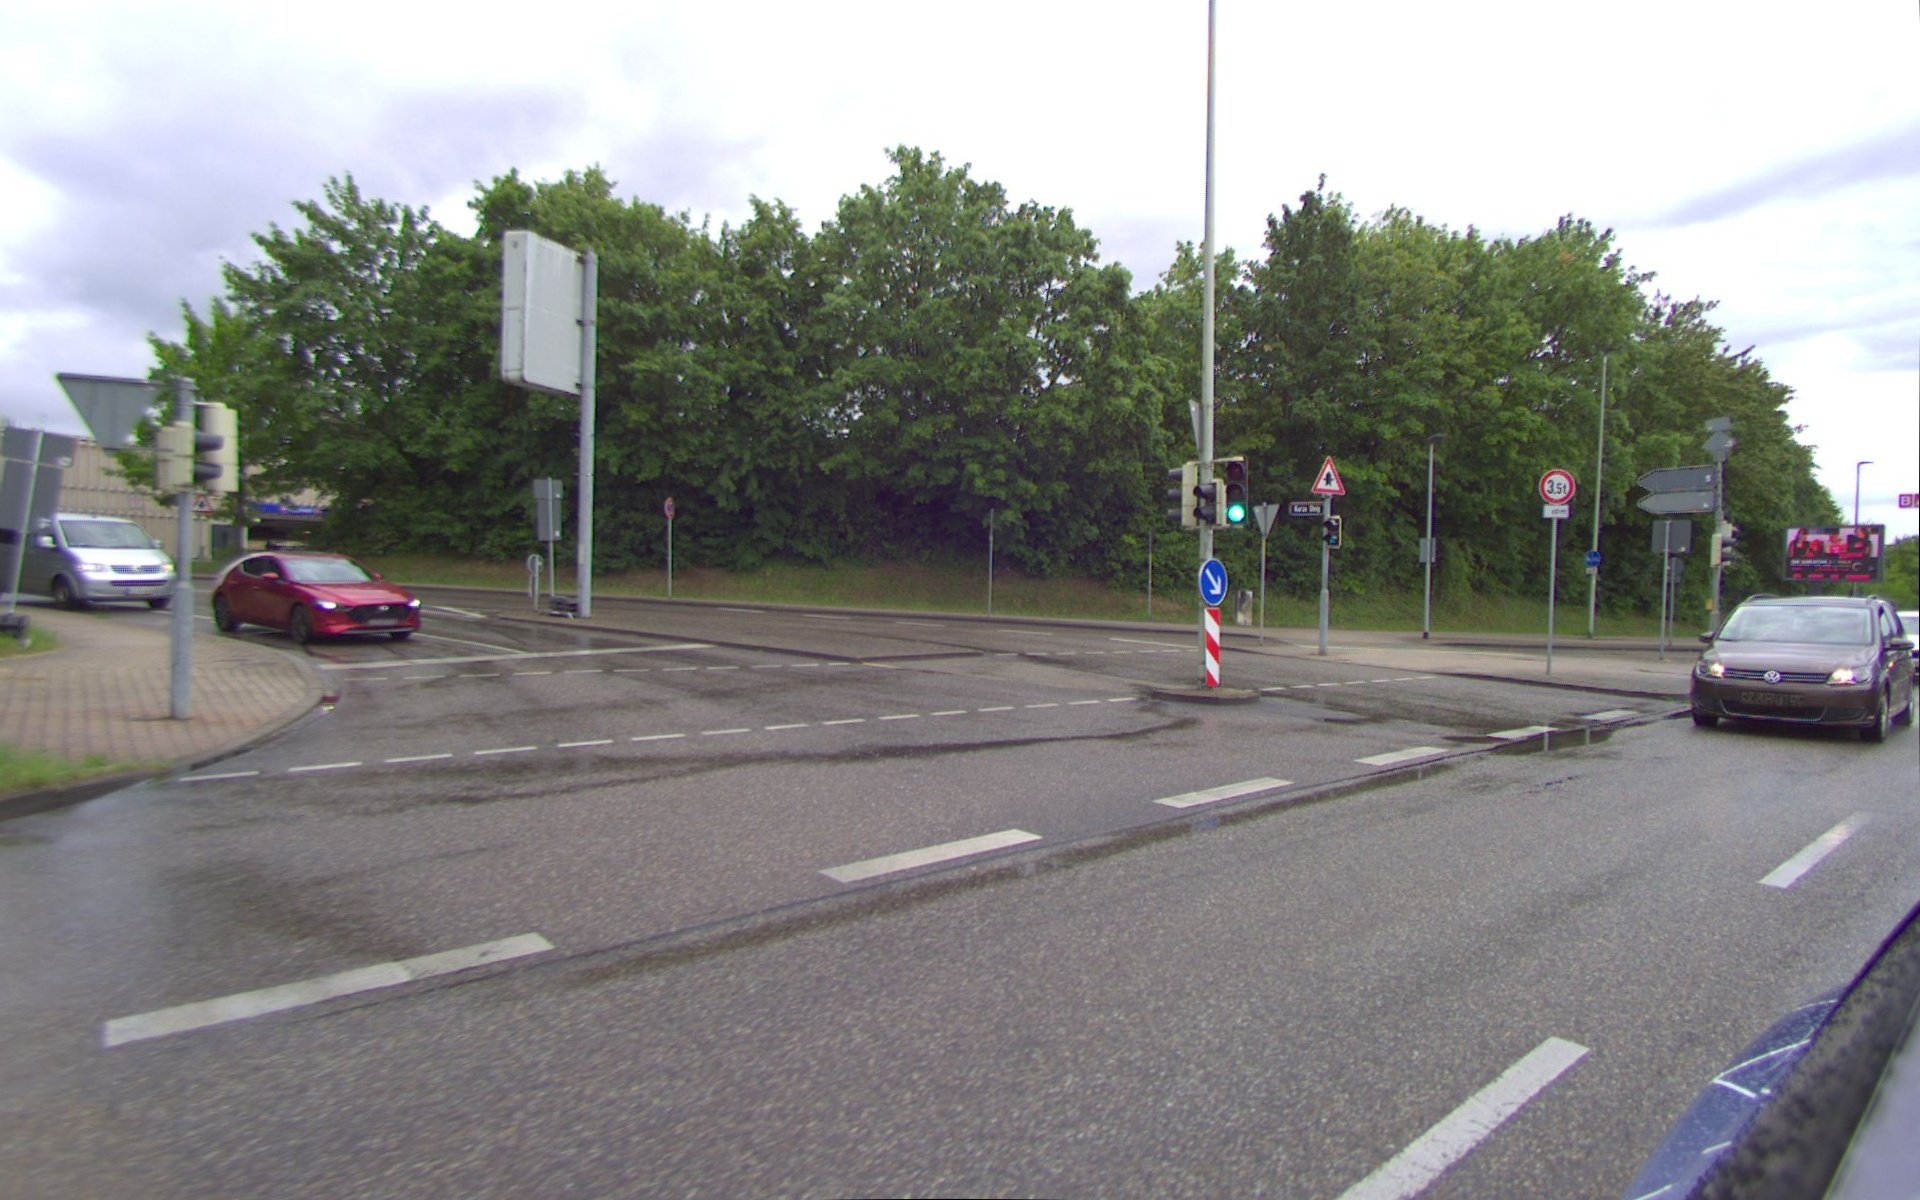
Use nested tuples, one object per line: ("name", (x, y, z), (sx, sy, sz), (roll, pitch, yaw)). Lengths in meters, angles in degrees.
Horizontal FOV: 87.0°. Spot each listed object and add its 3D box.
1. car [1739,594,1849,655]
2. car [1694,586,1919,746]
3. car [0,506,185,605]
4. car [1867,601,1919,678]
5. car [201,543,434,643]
("car", (26.600, 0.759, 32.236), (4.240, 1.749, 1.998), (1, 1, -41))
("car", (10.568, 0.682, 12.345), (3.910, 1.629, 1.750), (0, 0, -40))
("car", (-18.638, -0.983, 21.393), (3.954, 1.881, 1.840), (3, 3, 22))
("car", (20.468, 0.791, 21.155), (4.599, 1.475, 1.782), (0, 0, -42))
("car", (-11.203, -0.196, 17.611), (3.967, 1.445, 1.834), (4, 4, 30))
